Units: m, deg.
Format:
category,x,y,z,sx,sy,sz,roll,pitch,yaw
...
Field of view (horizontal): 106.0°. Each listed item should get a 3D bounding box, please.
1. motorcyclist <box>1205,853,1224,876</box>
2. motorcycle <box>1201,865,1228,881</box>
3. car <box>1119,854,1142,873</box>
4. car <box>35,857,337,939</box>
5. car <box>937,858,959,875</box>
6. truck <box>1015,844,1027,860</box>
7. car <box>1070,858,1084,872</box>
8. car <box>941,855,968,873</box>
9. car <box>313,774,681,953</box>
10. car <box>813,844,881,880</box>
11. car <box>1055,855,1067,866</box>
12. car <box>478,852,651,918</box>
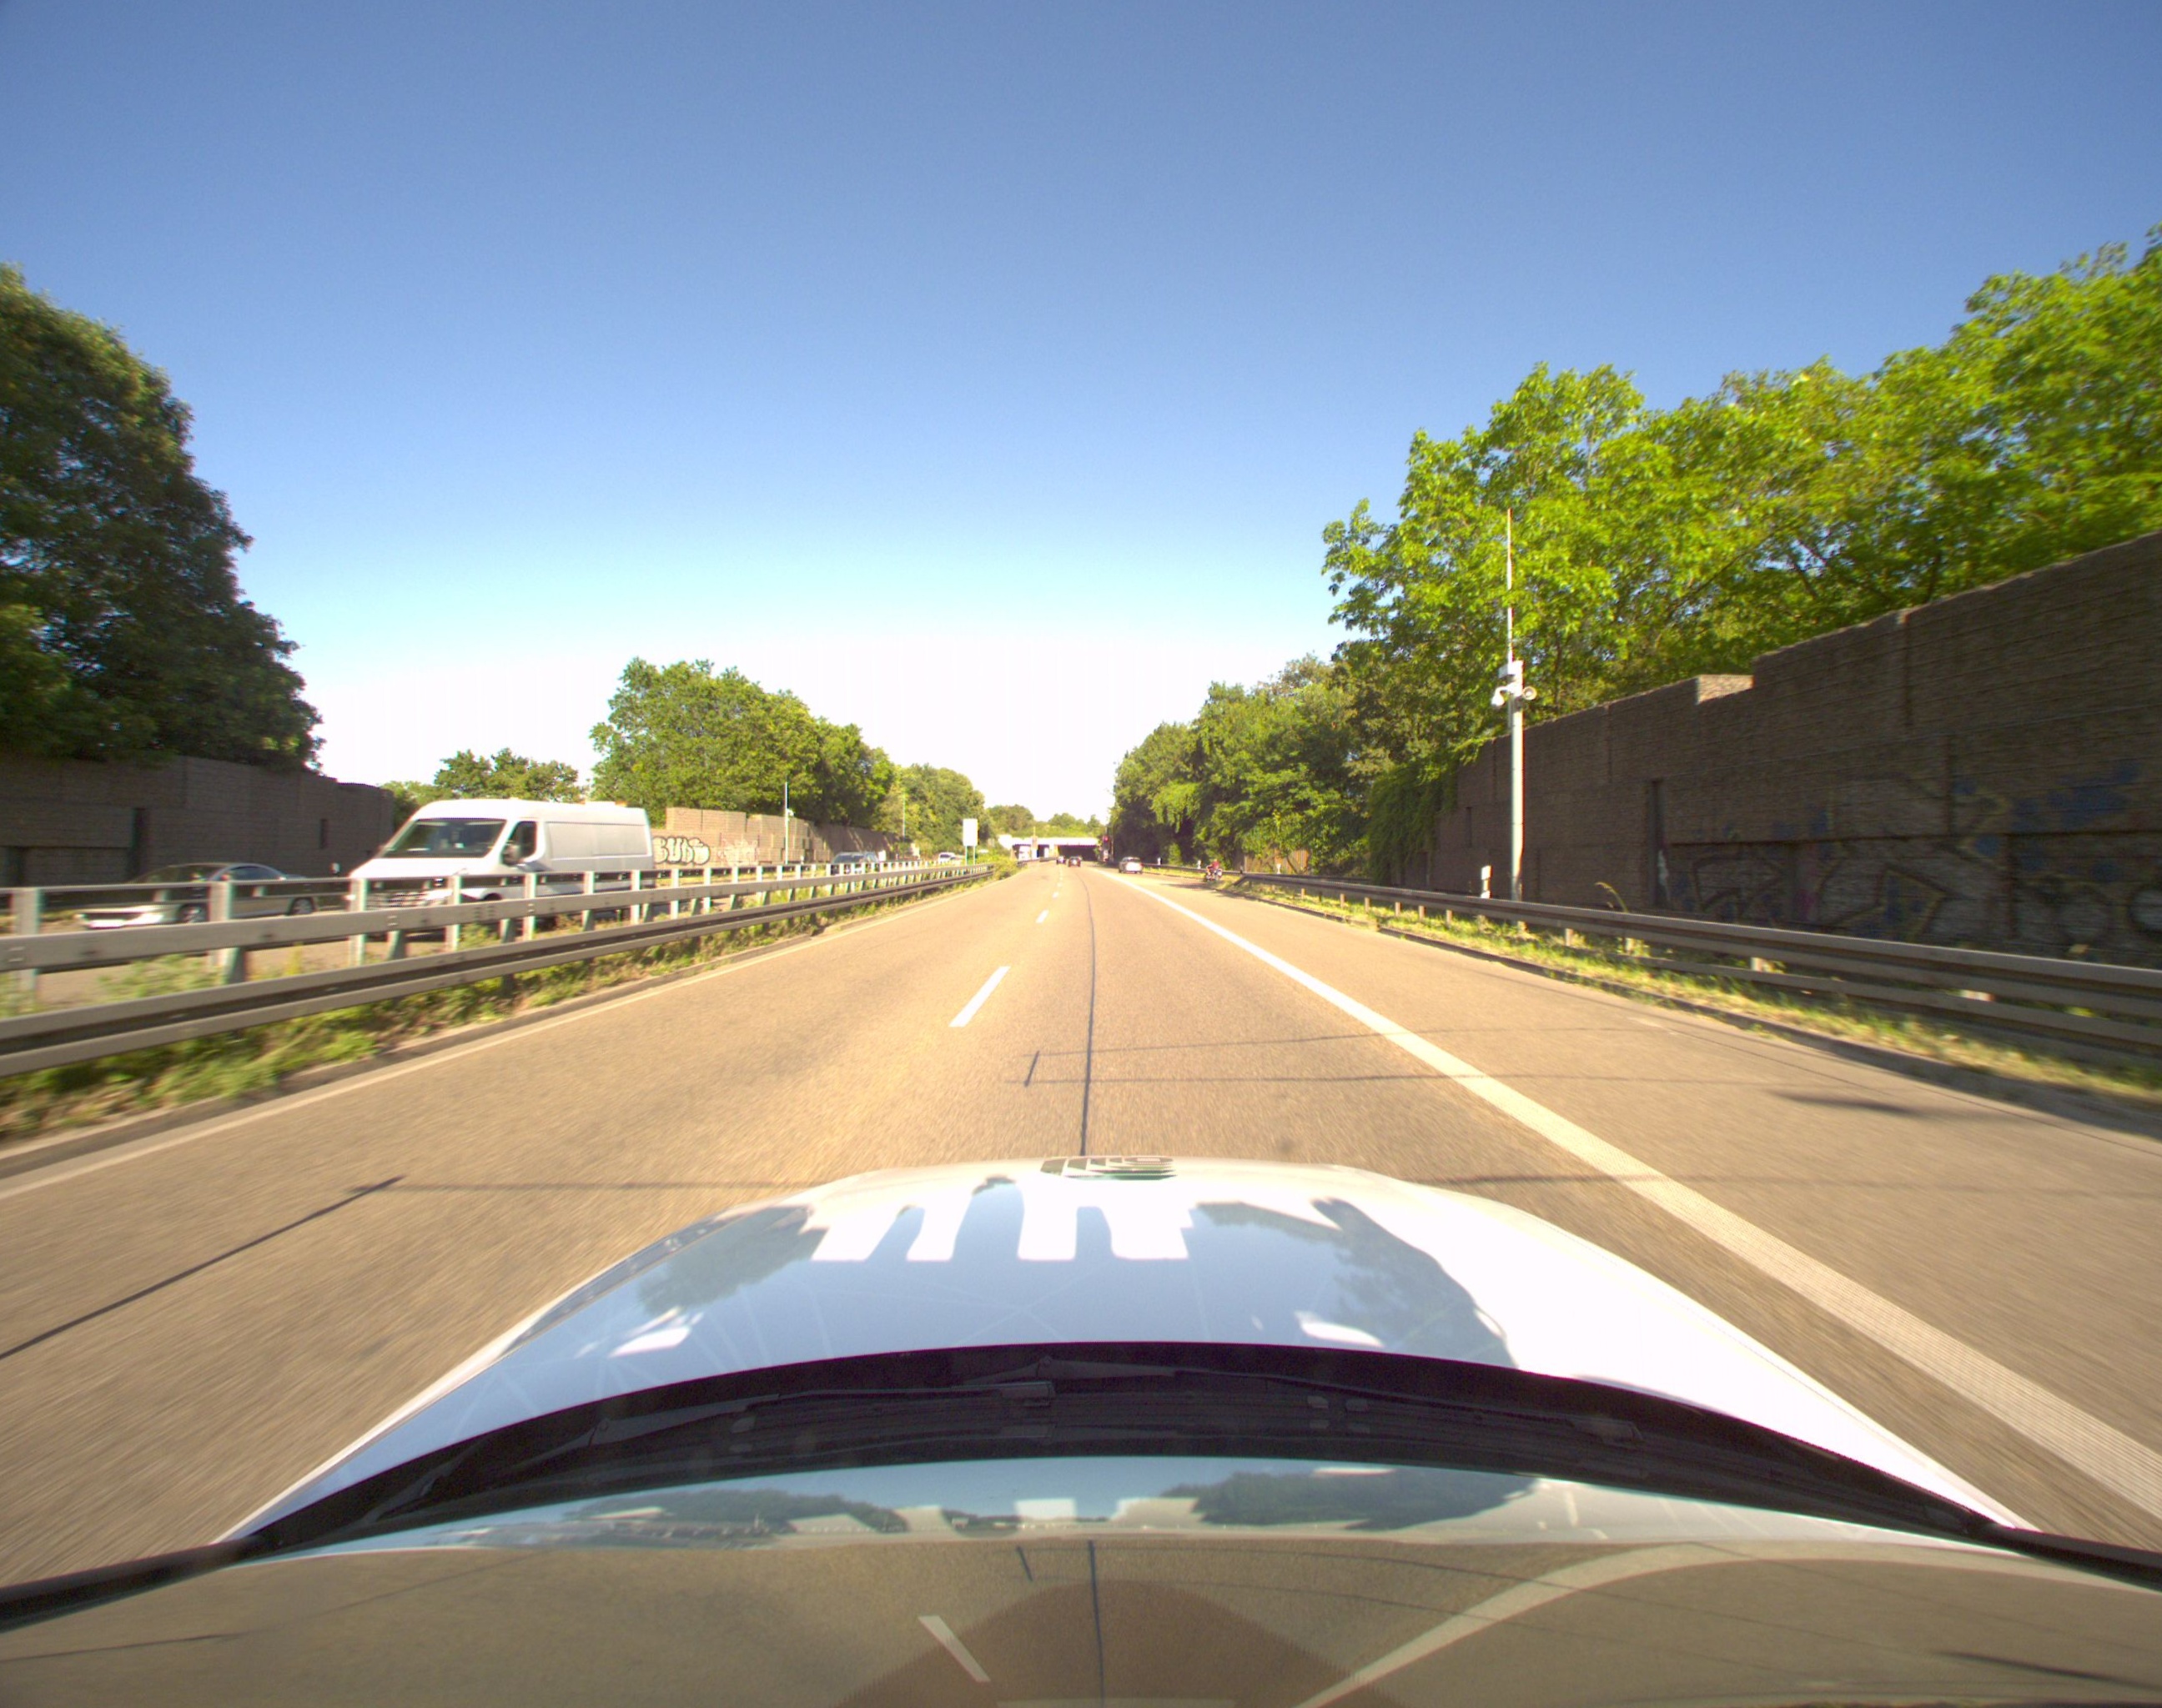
category,x,y,z,sx,sy,sz,roll,pitch,yaw
motorcyclist,8.995,0.717,54.817,0.883,1.501,1.059,2,0,-10
motorcycle,8.965,1.256,54.836,0.859,0.991,2.718,2,0,-11
car,4.421,0.846,73.200,1.662,1.552,3.999,2,1,-1
car,-18.418,0.837,17.110,1.990,1.388,4.023,2,1,-4
car,-15.493,1.406,94.954,1.816,1.821,4.620,2,1,-1
truck,-17.027,-0.560,231.978,2.727,4.261,6.385,2,1,-1
car,-0.611,1.633,119.892,1.987,1.925,3.999,1,0,0
car,-11.616,0.872,74.835,1.817,1.480,4.618,2,1,-2
car,-10.626,0.103,15.837,2.113,2.683,6.592,2,1,2
car,-10.937,0.325,38.427,1.987,1.579,4.247,-1,1,0
car,-3.585,1.253,148.607,1.987,1.925,3.999,1,0,0
car,-14.641,0.796,23.472,1.895,1.620,4.697,2,1,1
